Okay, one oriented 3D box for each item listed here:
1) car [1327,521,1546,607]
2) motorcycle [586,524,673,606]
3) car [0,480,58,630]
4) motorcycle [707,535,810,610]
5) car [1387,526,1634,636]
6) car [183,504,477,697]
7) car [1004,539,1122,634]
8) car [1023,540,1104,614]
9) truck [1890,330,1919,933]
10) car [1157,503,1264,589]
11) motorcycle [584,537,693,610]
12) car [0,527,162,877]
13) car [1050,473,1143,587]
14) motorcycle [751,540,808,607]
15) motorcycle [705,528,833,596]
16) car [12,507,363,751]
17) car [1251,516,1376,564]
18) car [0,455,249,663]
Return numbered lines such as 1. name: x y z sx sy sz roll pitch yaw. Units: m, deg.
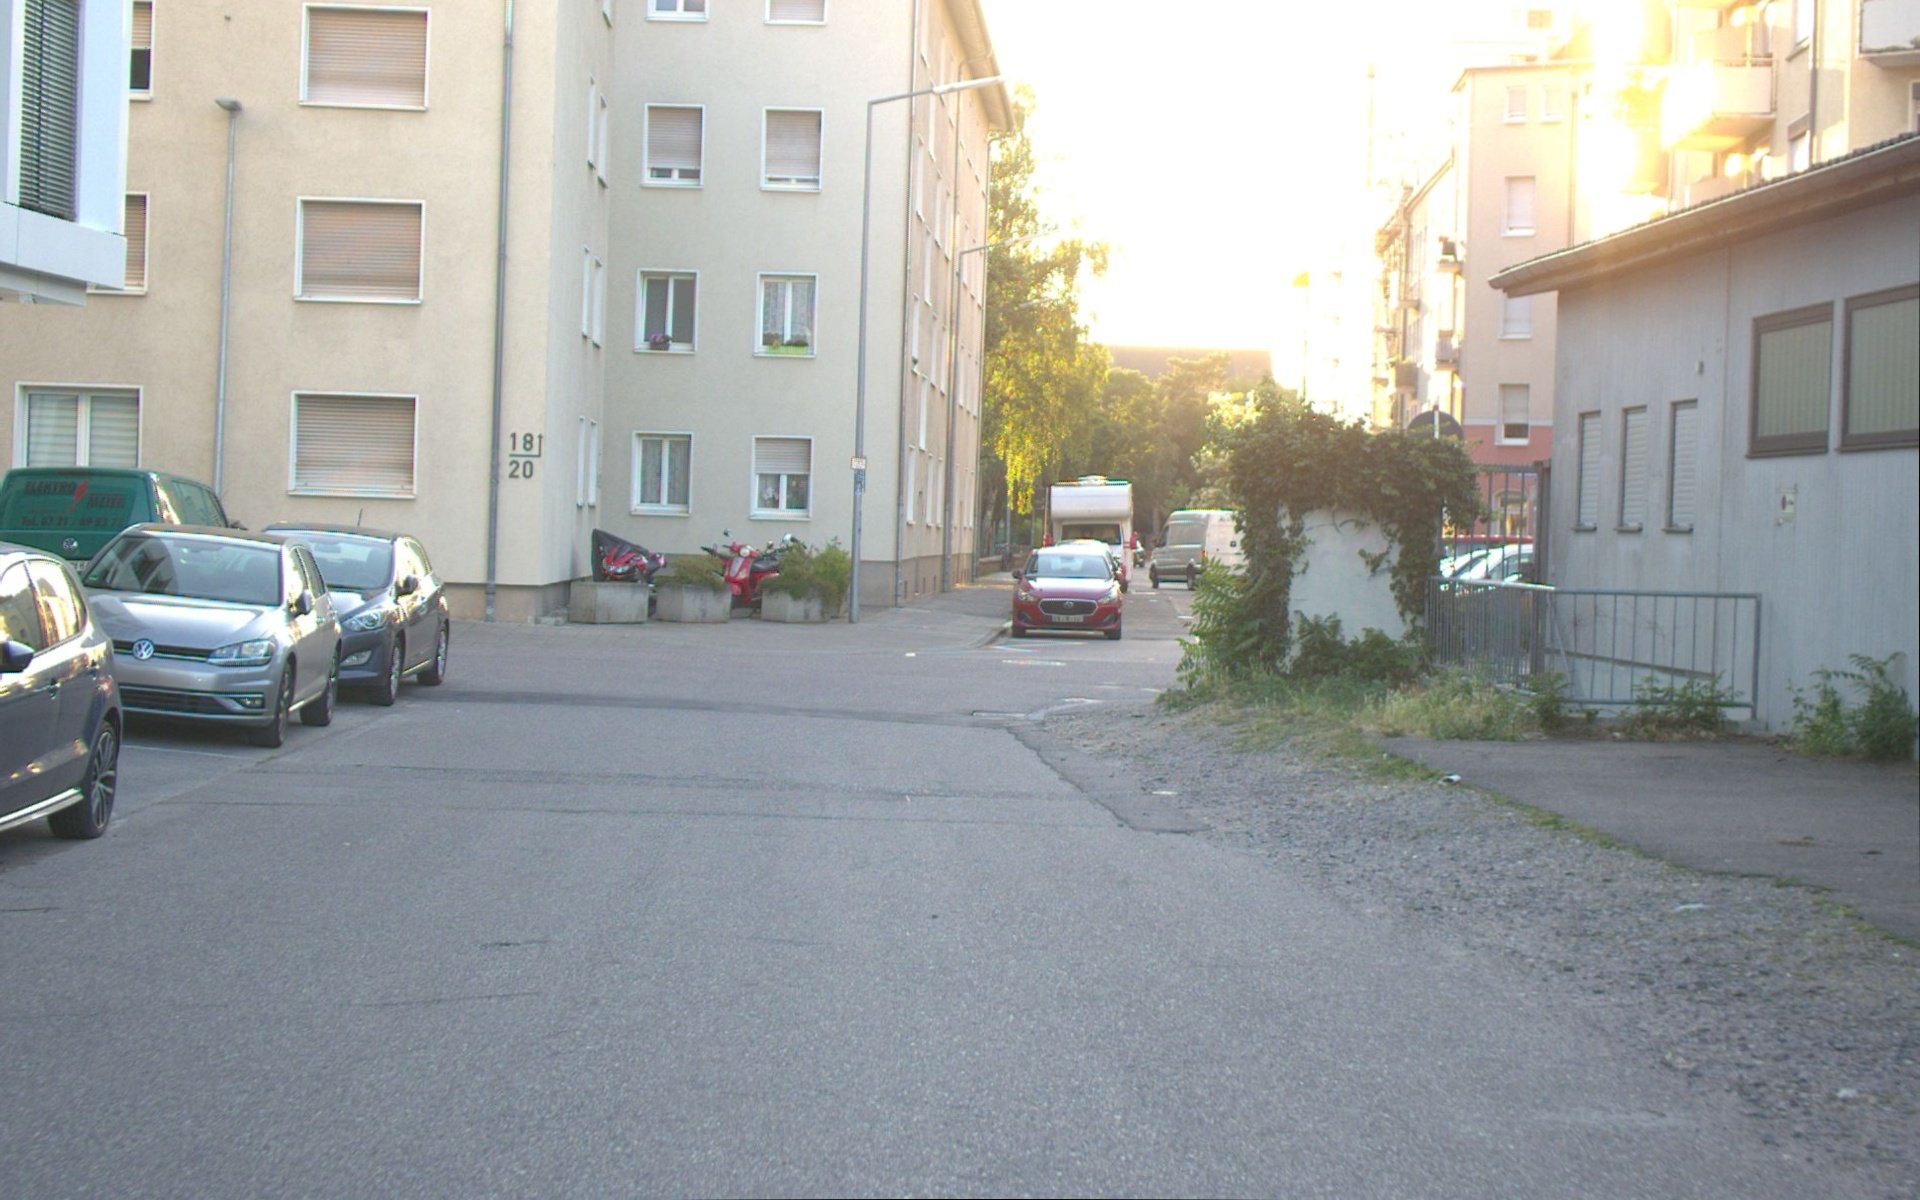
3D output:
1. car: 10.754 -0.819 77.777 4.722 1.903 2.059 0 1 2
2. motorcycle: -5.282 -0.566 55.086 0.724 1.260 2.080 2 1 13
3. car: -10.879 -0.498 35.876 1.779 1.544 4.331 2 -1 -1
4. motorcycle: -3.229 -0.440 55.245 0.689 1.156 2.031 3 1 27
5. car: 10.119 -0.360 63.375 4.280 1.854 1.741 2 1 3
6. car: -5.615 -0.050 31.147 1.779 1.474 4.331 5 1 -1
7. car: 1.700 -0.252 57.212 1.845 1.468 4.078 2 1 1
8. car: 2.095 -0.488 70.007 1.616 1.468 3.505 0 1 1
9. truck: 4.585 0.195 9.961 2.097 2.193 5.711 2 1 -1
10. car: 8.073 -1.751 111.419 2.128 2.708 4.835 0 1 -13
11. motorcycle: -4.930 -0.410 52.795 0.724 1.075 2.078 2 1 24
12. car: -4.933 0.392 15.553 1.648 1.434 4.185 5 1 -2
13. car: 4.124 -2.094 102.491 2.620 3.257 7.696 0 1 3
14. motorcycle: -3.012 -0.454 57.559 0.682 1.075 2.034 2 1 4
15. motorcycle: -3.321 -0.656 59.771 2.125 1.101 0.560 2 1 14
16. car: -5.517 0.139 25.030 1.710 1.474 4.185 5 1 -3
17. car: 11.608 -1.977 113.144 3.987 1.525 1.659 1 1 3
18. car: -8.792 -0.485 35.848 1.797 1.973 4.690 2 2 -1
